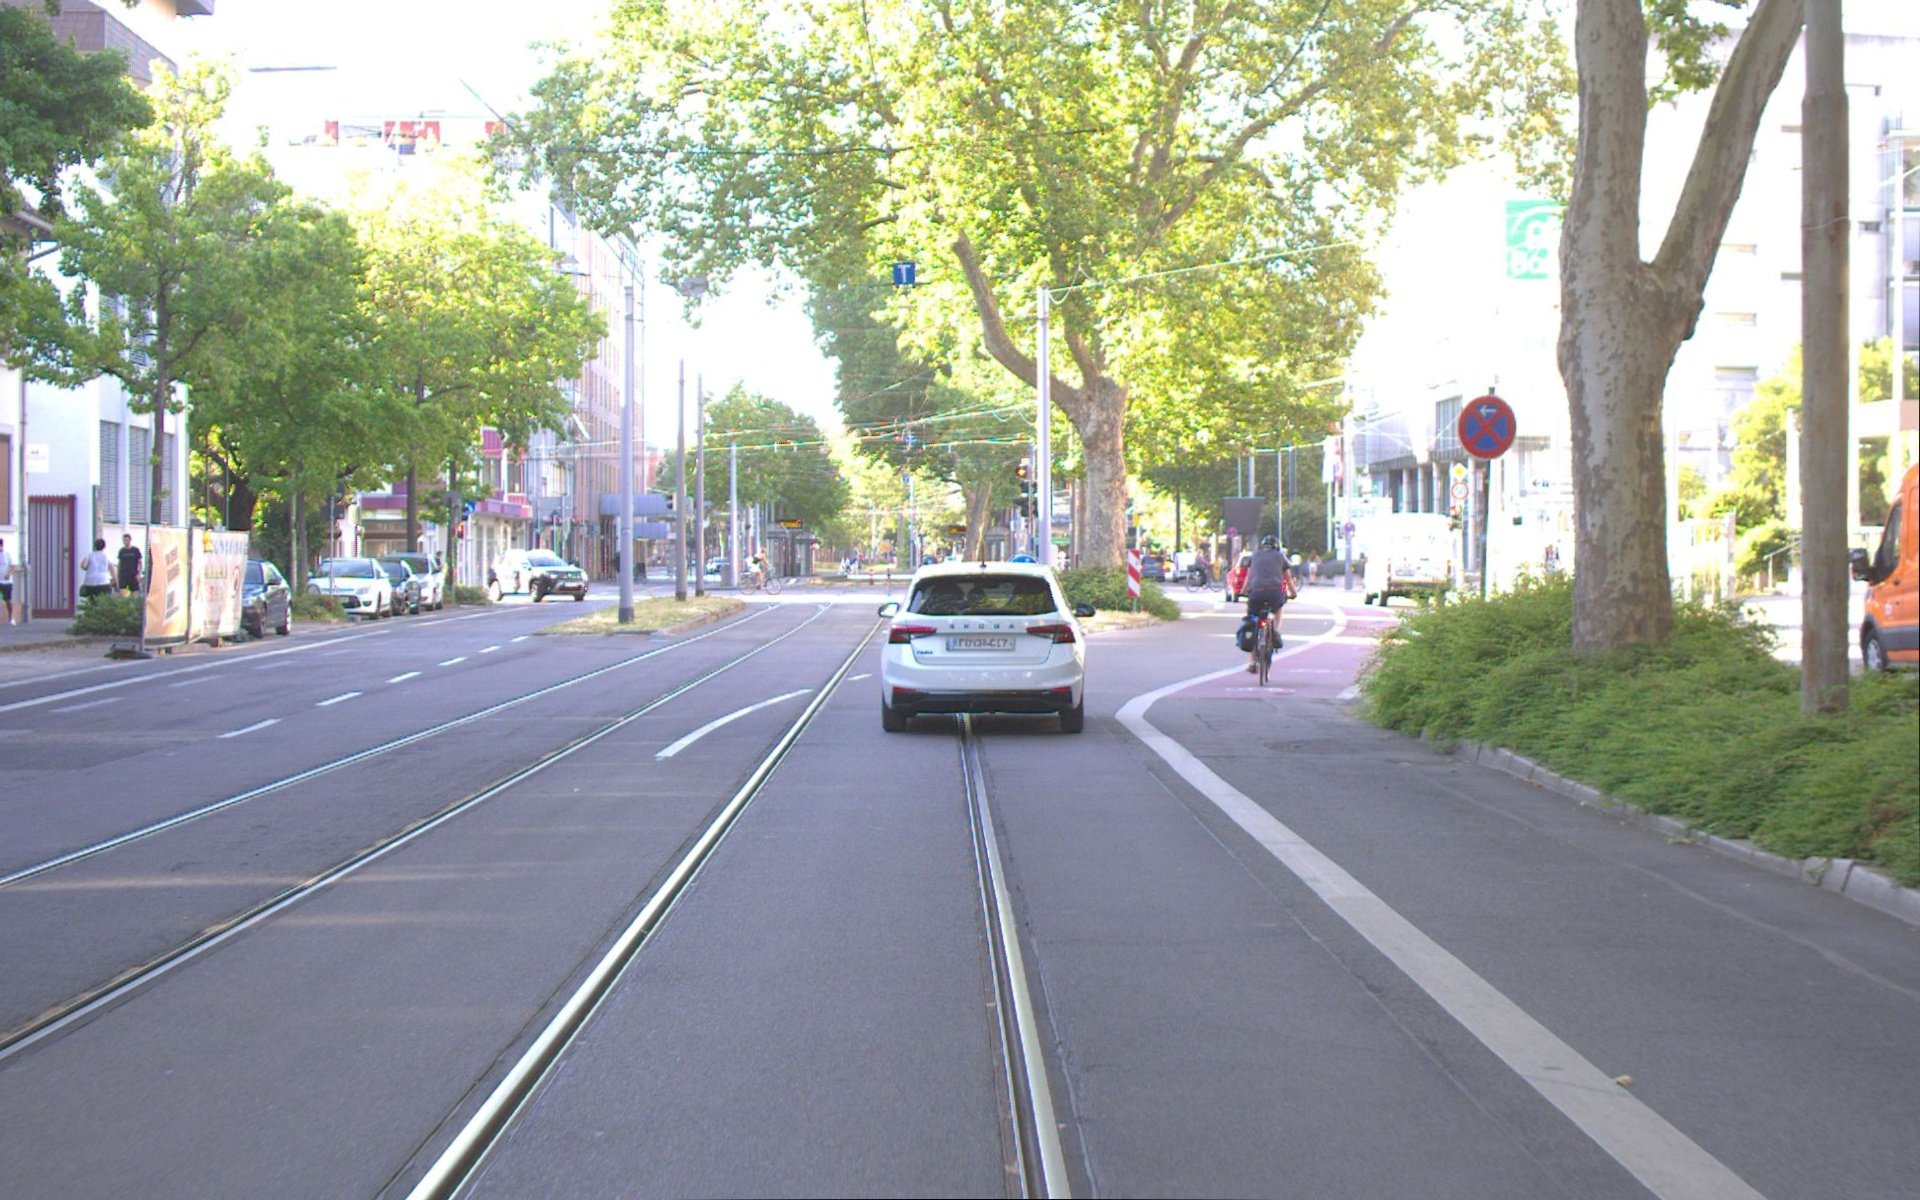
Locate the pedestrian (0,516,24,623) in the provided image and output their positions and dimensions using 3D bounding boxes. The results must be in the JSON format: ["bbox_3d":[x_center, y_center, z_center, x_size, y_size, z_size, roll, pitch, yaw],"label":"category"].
[{"bbox_3d":[-18.123,-0.585,64.639,0.748,1.996,0.647,2,1,37],"label":"pedestrian"}]

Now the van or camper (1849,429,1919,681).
[{"bbox_3d":[10.370,-0.416,33.606,2.027,2.455,5.108,1,1,1],"label":"van or camper"}]

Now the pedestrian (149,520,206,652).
[{"bbox_3d":[-12.022,-0.222,52.833,0.646,1.996,0.749,1,1,3],"label":"pedestrian"}]

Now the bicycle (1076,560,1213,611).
[{"bbox_3d":[3.841,-0.299,71.716,2.771,0.996,0.592,2,1,14],"label":"bicycle"}]

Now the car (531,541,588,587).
[{"bbox_3d":[-13.243,-1.212,113.749,1.634,1.472,3.785,1,1,-3],"label":"car"}]

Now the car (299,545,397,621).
[{"bbox_3d":[-14.506,-0.419,81.677,1.794,1.720,3.785,1,1,-3],"label":"car"}]

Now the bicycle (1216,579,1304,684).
[{"bbox_3d":[3.499,0.349,40.355,0.680,1.151,2.964,1,1,-1],"label":"bicycle"}]

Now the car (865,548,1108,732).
[{"bbox_3d":[0.166,0.301,30.051,1.842,1.475,3.839,1,1,-3],"label":"car"}]

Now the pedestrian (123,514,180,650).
[{"bbox_3d":[-11.963,-0.273,50.900,0.601,1.996,0.749,1,1,3],"label":"pedestrian"}]

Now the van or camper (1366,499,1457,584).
[{"bbox_3d":[12.949,-1.679,98.840,1.993,2.335,4.000,1,1,-1],"label":"van or camper"}]

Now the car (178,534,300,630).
[{"bbox_3d":[-13.536,-0.366,64.702,1.641,1.720,3.785,1,1,-3],"label":"car"}]

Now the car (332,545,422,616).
[{"bbox_3d":[-14.824,-0.511,87.618,1.794,1.720,3.785,1,1,-3],"label":"car"}]

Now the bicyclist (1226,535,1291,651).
[{"bbox_3d":[3.502,-0.083,40.387,0.679,1.334,0.525,1,1,-1],"label":"bicyclist"}]

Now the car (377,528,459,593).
[{"bbox_3d":[-14.844,-1.089,94.362,1.794,1.720,3.785,1,1,-3],"label":"car"}]

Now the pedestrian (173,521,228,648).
[{"bbox_3d":[-12.105,-0.252,54.825,0.646,1.996,0.749,1,1,3],"label":"pedestrian"}]

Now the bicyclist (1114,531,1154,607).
[{"bbox_3d":[3.636,-0.644,71.768,0.737,1.583,0.586,0,1,11],"label":"bicyclist"}]

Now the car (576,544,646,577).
[{"bbox_3d":[-20.600,-2.322,202.754,3.794,1.812,1.803,1,1,5],"label":"car"}]

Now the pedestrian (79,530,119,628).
[{"bbox_3d":[-15.779,-0.389,63.020,0.600,1.766,0.701,1,1,-7],"label":"pedestrian"}]
